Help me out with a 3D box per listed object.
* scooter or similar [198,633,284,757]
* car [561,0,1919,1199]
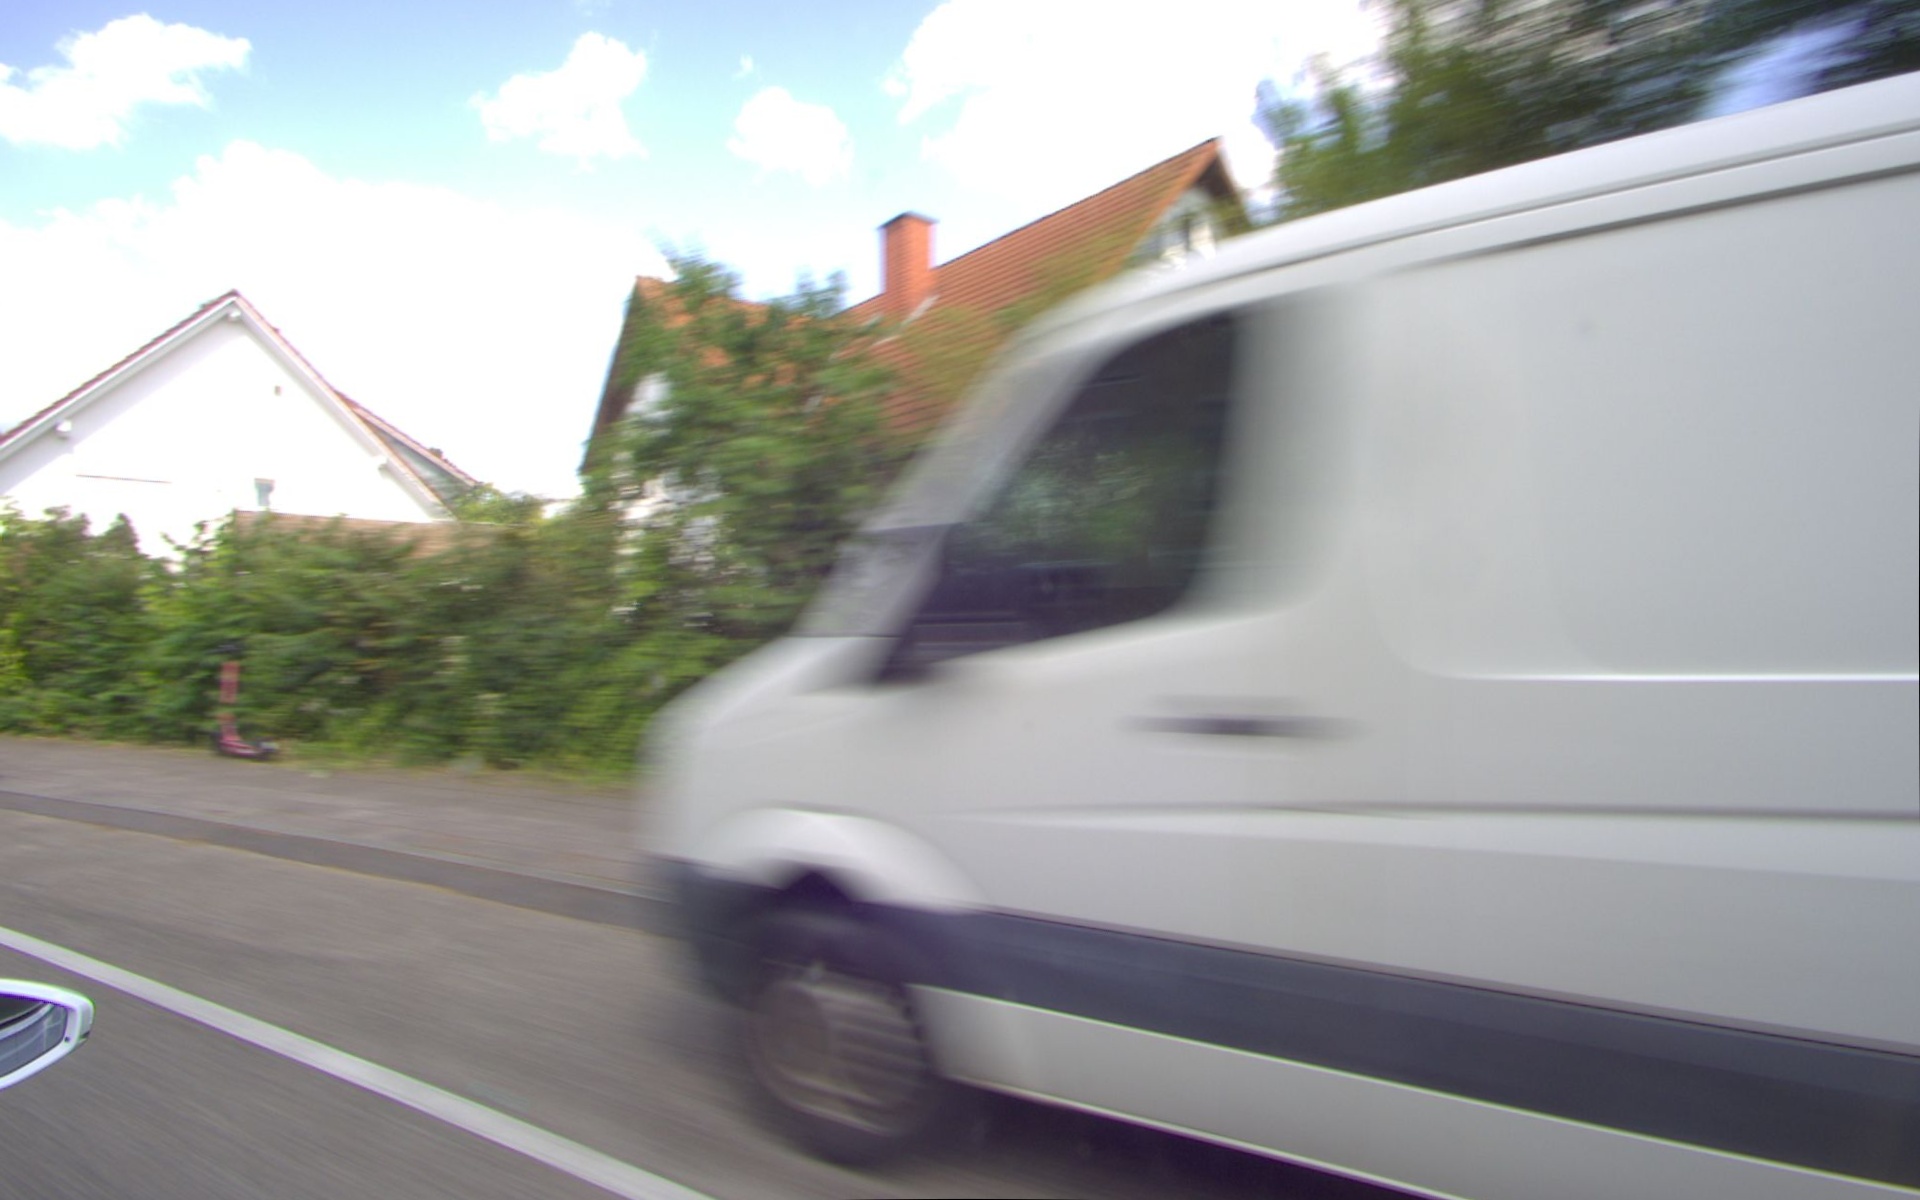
[{"bbox_3d":[-7.738,0.998,10.767,1.224,1.268,0.212,0,-1,28],"label":"scooter or similar"},{"bbox_3d":[1.811,0.239,2.459,5.807,2.472,2.115,0,-1,31],"label":"car"}]
